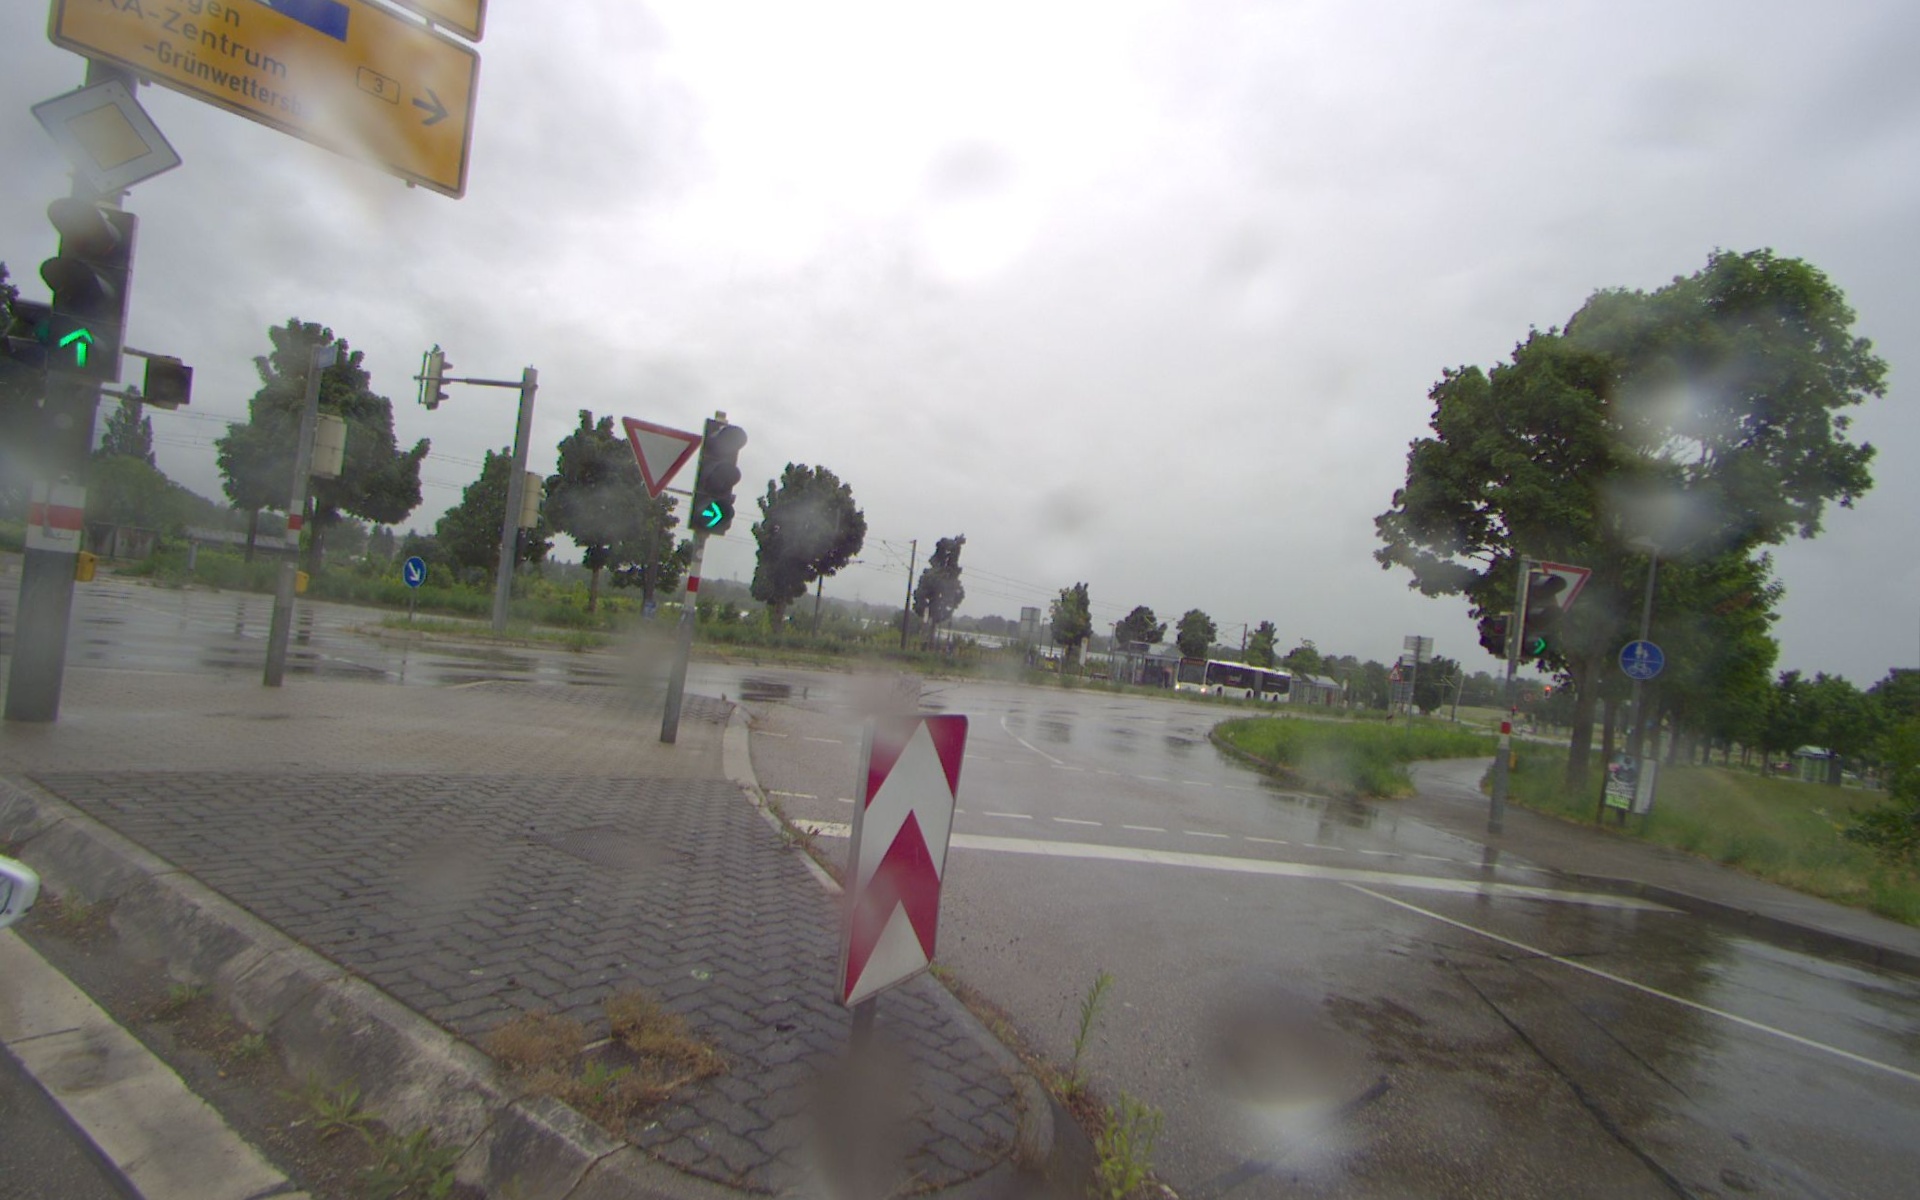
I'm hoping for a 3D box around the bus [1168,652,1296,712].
[{"bbox_3d":[22.594,6.848,82.036,2.716,3.828,18.377,7,-2,39],"label":"bus"}]
